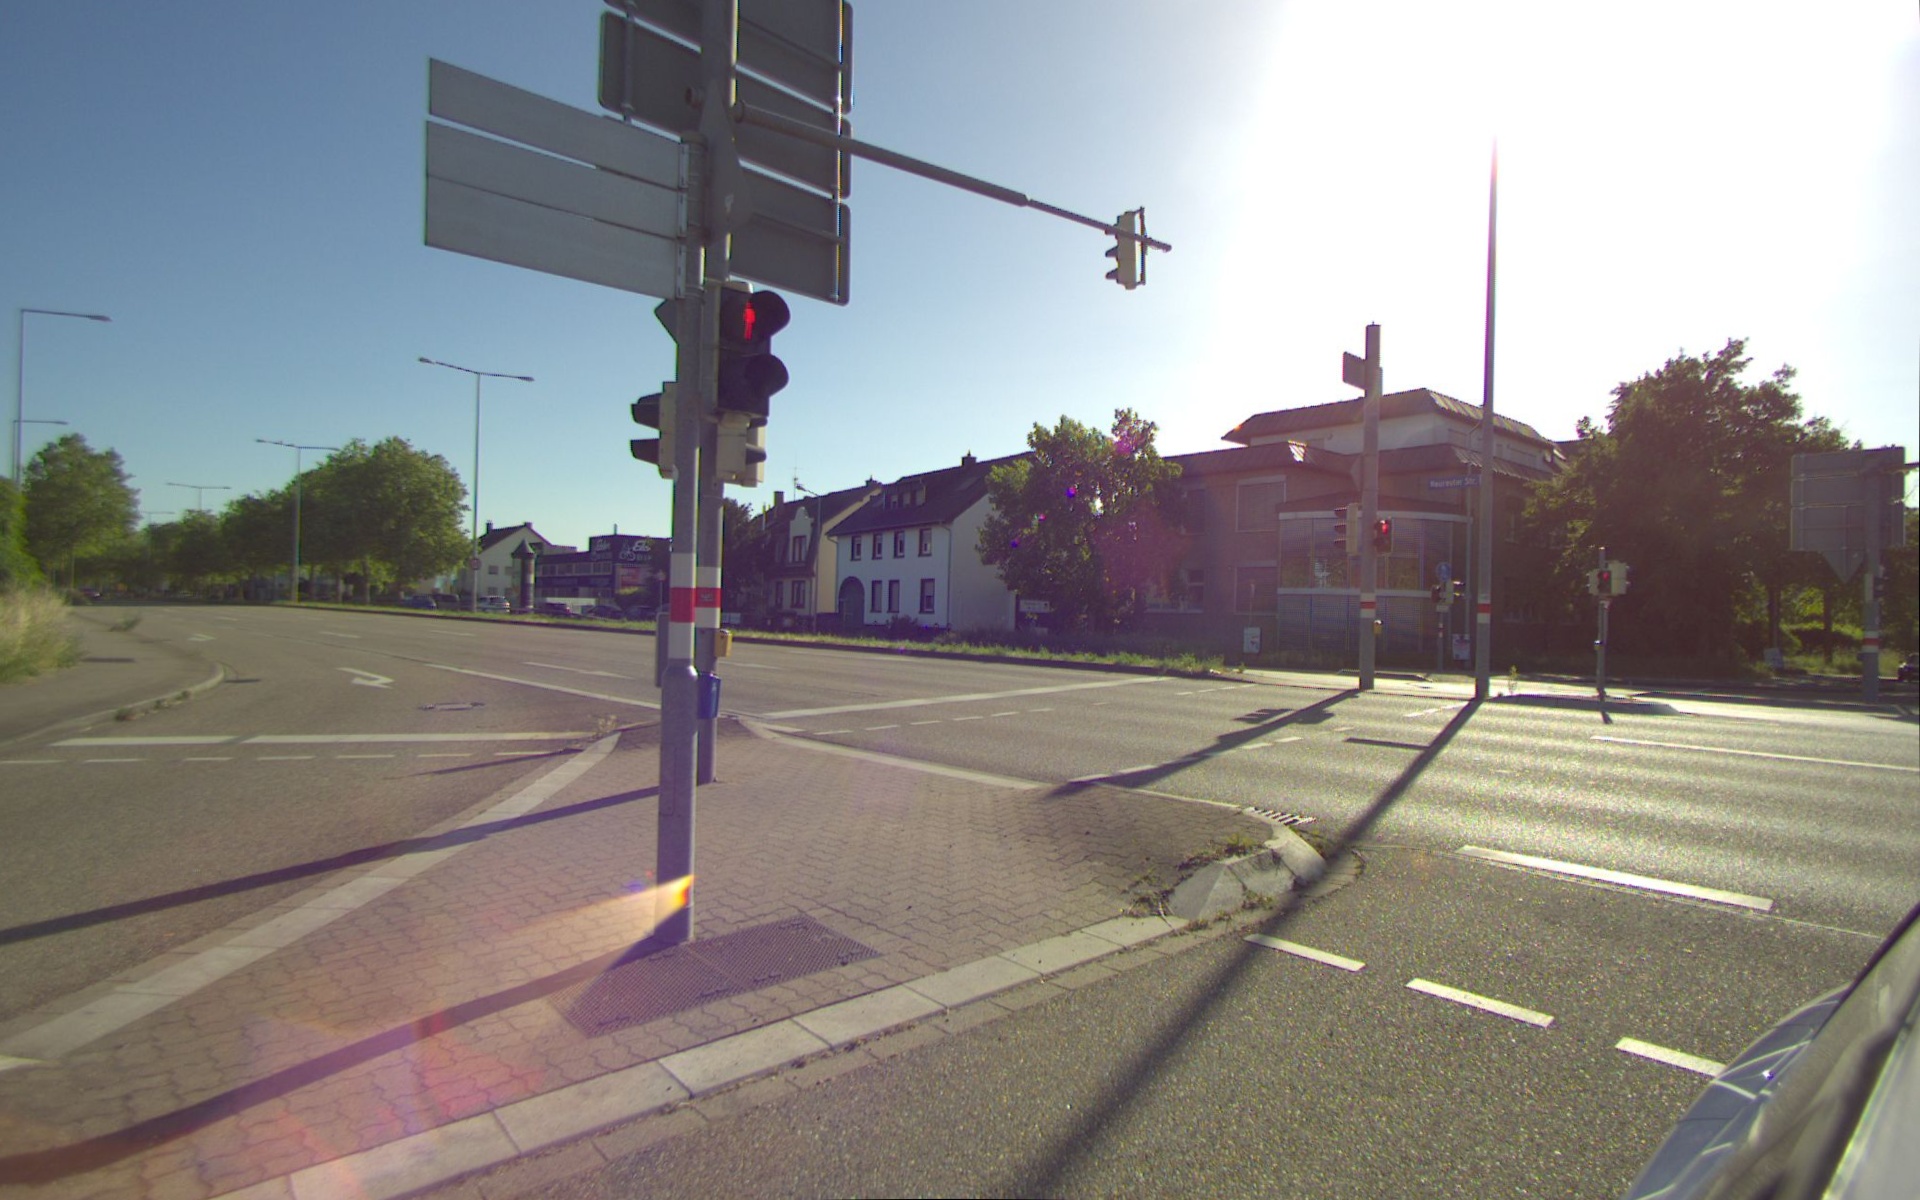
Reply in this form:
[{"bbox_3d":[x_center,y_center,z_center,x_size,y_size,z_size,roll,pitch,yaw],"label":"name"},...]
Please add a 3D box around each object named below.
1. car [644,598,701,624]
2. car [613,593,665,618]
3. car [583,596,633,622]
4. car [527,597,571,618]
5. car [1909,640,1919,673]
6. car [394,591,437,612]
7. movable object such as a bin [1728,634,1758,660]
[{"bbox_3d":[-19.363,0.720,68.097,1.967,1.638,3.990,3,-1,-44],"label":"car"},{"bbox_3d":[-22.808,0.421,71.871,1.967,1.617,3.989,3,-3,-44],"label":"car"},{"bbox_3d":[-26.225,0.685,75.369,1.967,1.842,3.989,3,-3,-44],"label":"car"},{"bbox_3d":[-33.390,0.657,82.152,1.967,1.612,3.989,3,-3,-44],"label":"car"},{"bbox_3d":[46.547,2.730,47.925,4.138,1.505,1.776,3,0,-39],"label":"car"},{"bbox_3d":[-40.612,0.103,75.418,3.781,1.459,1.709,2,-2,44],"label":"car"},{"bbox_3d":[42.054,2.504,54.353,0.782,1.339,1.089,3,-2,-39],"label":"movable object such as a bin"}]
